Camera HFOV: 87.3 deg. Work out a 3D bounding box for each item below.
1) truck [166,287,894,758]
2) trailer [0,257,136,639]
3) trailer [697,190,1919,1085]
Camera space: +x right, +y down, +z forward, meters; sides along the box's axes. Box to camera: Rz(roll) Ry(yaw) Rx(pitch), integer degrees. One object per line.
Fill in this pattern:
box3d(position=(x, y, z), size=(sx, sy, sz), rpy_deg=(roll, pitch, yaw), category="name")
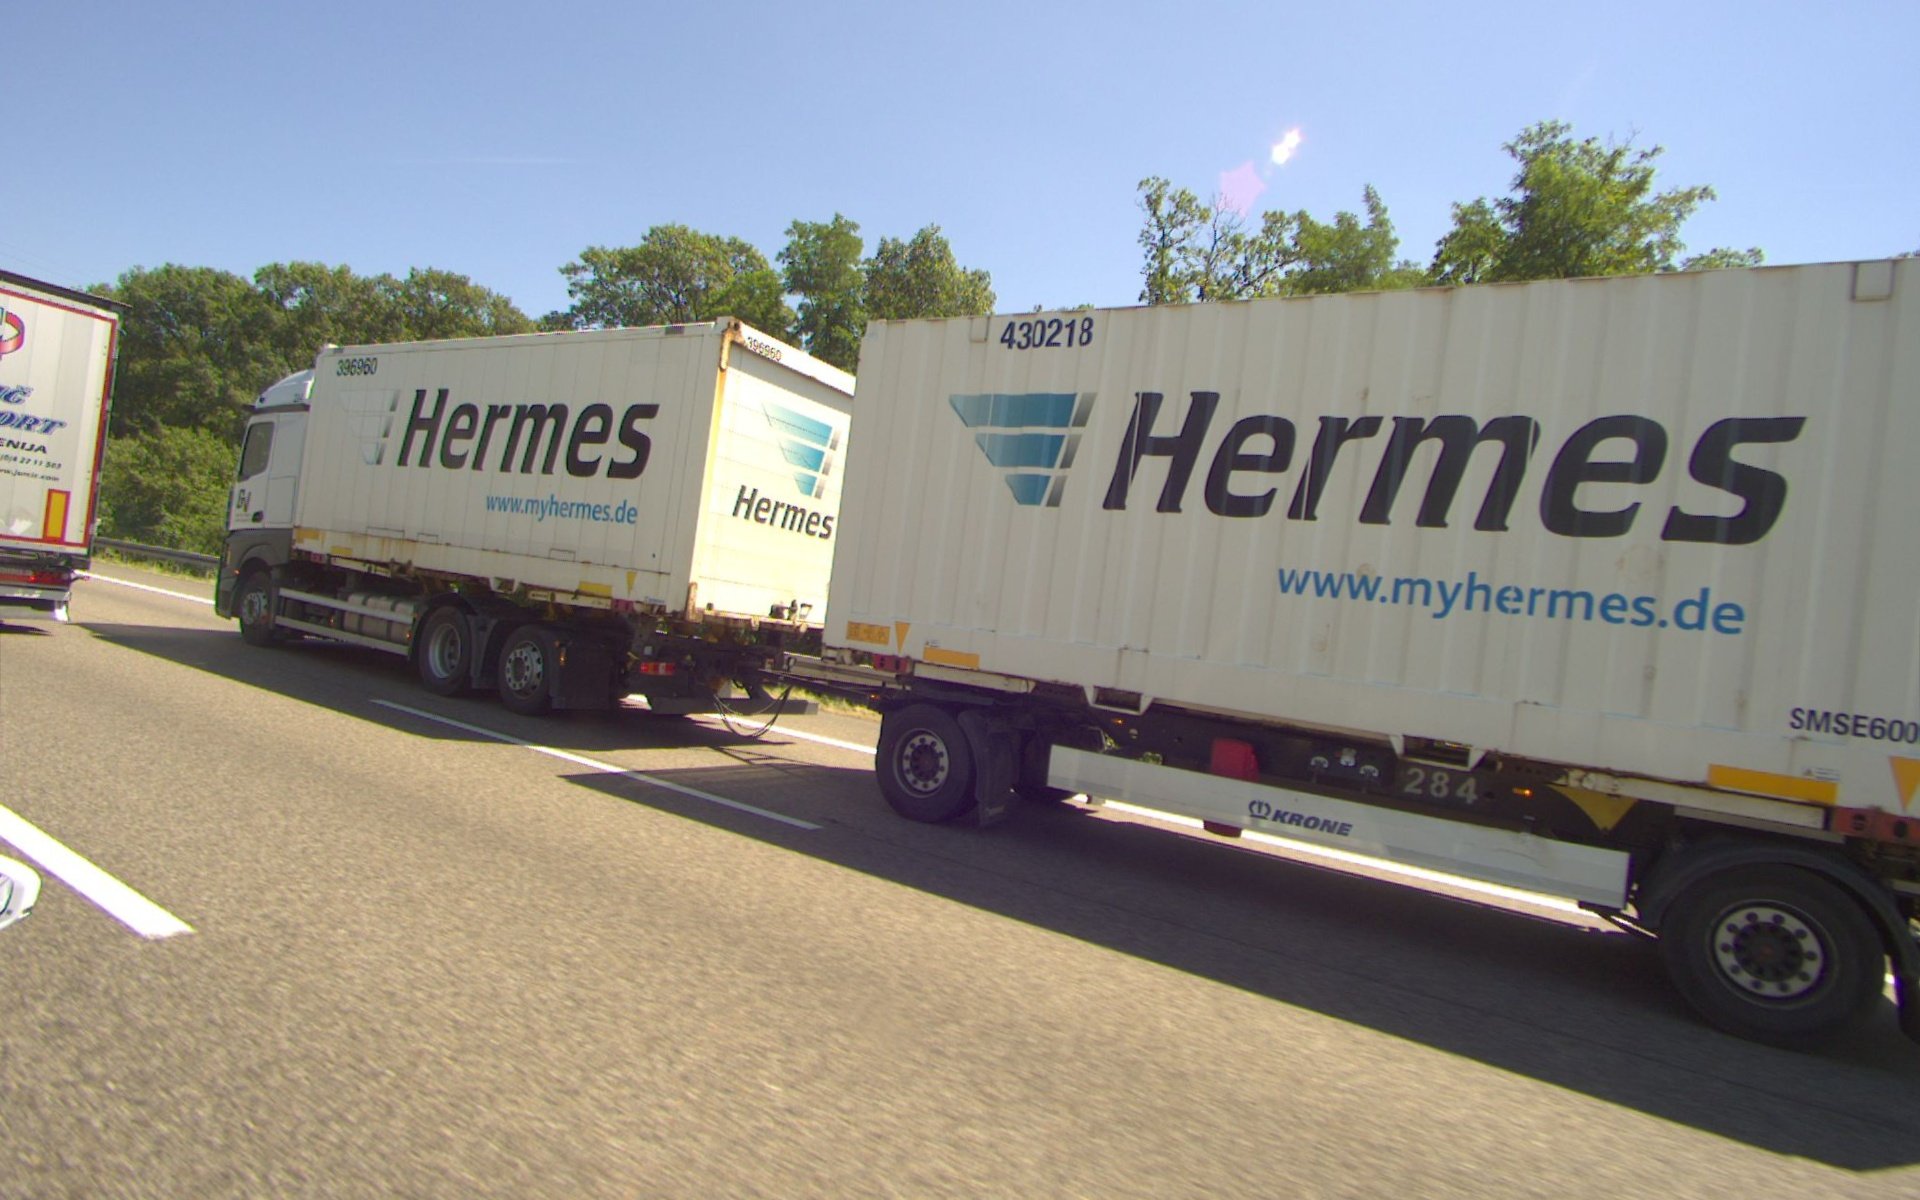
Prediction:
box3d(position=(-6.048, -1.059, 12.719), size=(10.493, 4.178, 2.531), rpy_deg=(7, -1, 32), category="truck")
box3d(position=(-16.193, -2.321, 14.187), size=(13.431, 4.021, 2.745), rpy_deg=(6, -2, 33), category="trailer")
box3d(position=(3.310, 0.054, 6.830), size=(11.077, 4.106, 2.560), rpy_deg=(7, -1, 32), category="trailer")
